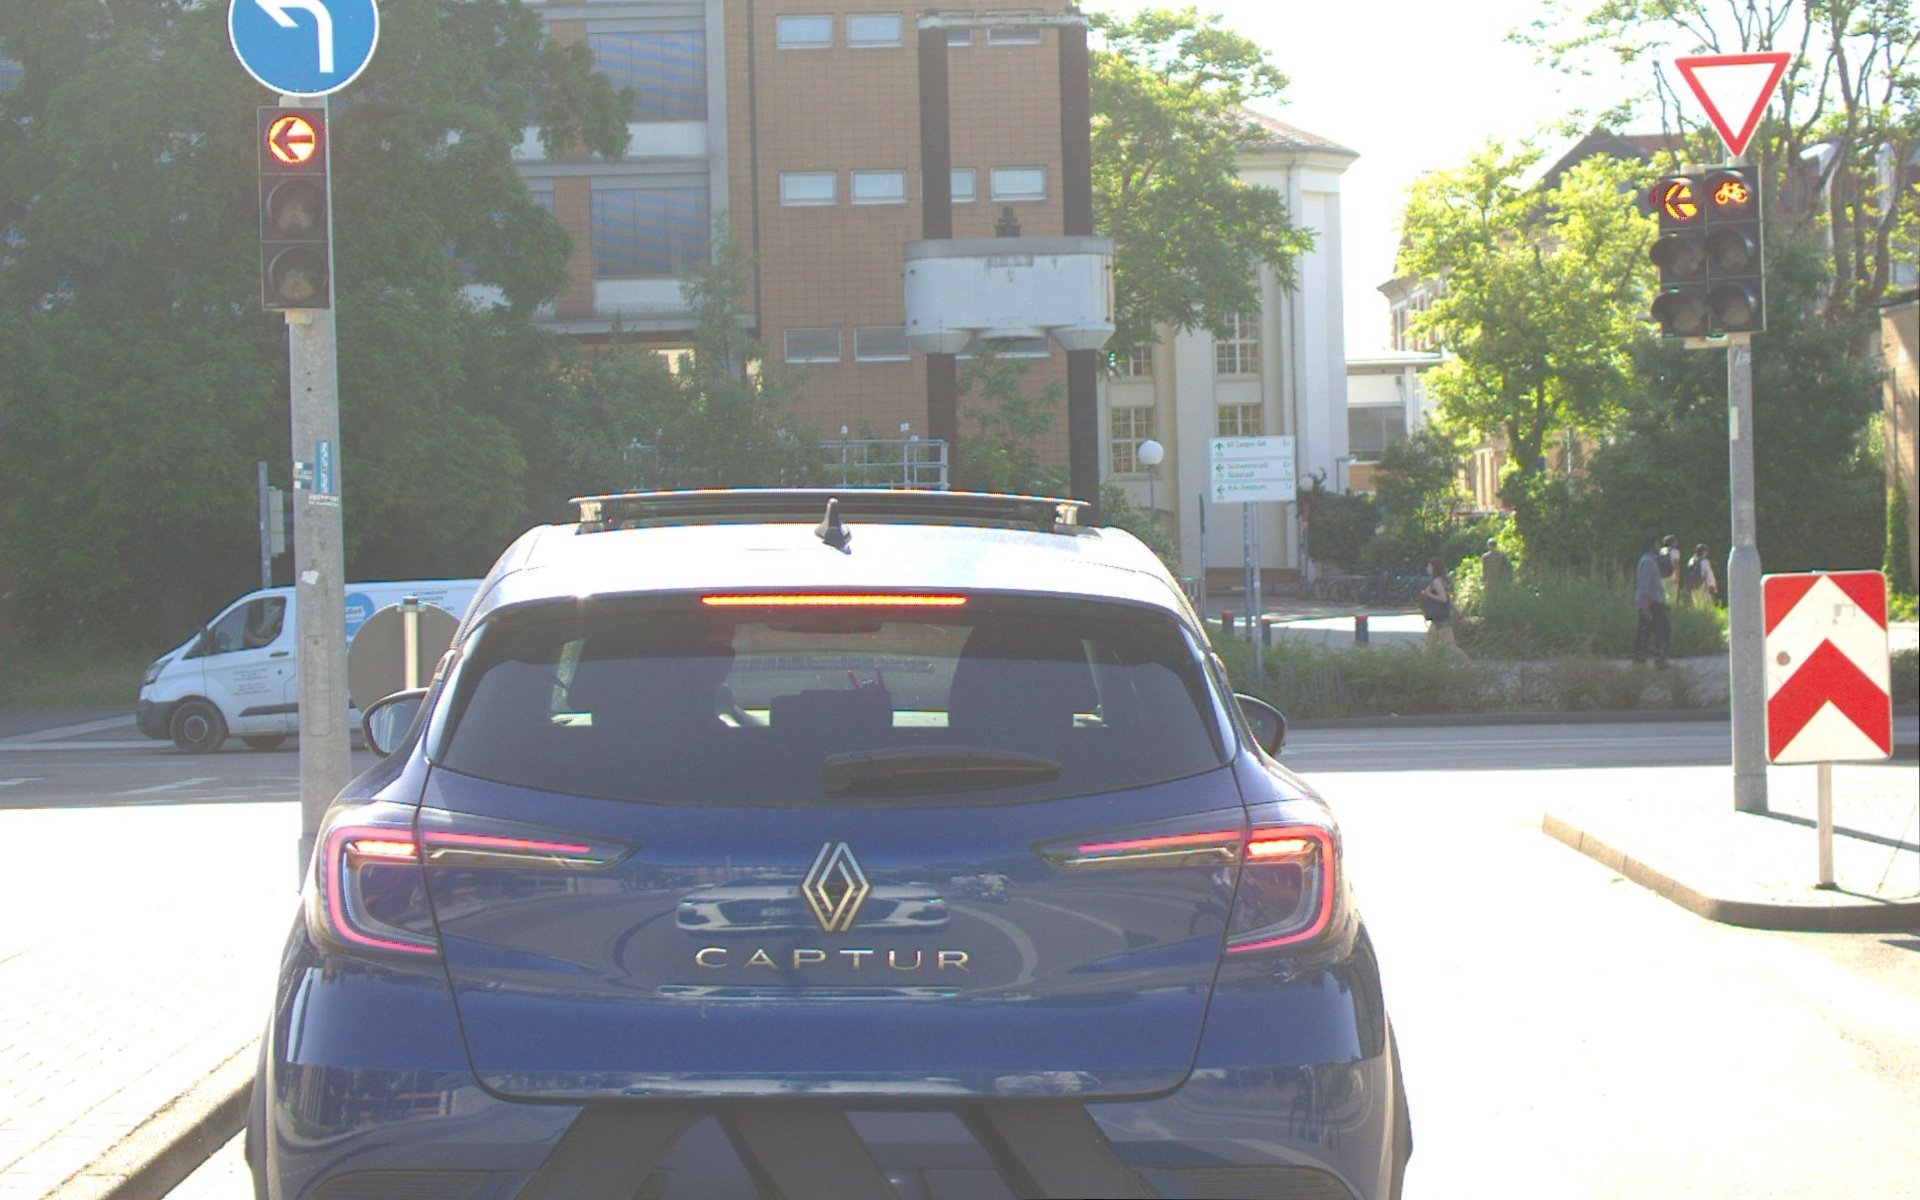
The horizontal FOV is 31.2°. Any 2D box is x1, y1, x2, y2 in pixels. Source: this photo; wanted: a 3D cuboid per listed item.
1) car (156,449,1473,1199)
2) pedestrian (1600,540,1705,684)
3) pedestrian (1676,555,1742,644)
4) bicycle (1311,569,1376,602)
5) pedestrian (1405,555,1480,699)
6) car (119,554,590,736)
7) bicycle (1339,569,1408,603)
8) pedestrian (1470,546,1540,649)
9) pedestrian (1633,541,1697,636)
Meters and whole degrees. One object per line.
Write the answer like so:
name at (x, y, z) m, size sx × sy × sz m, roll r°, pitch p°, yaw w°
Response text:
car at (-0.250, 0.588, 6.634) m, size 1.794 × 1.649 × 3.853 m, roll 0°, pitch 1°, yaw -2°
pedestrian at (9.090, 0.156, 45.148) m, size 1.298 × 1.849 × 0.965 m, roll -1°, pitch 1°, yaw 11°
pedestrian at (13.799, -0.022, 63.370) m, size 0.936 × 1.607 × 1.176 m, roll -1°, pitch 1°, yaw 0°
bicycle at (11.063, -0.416, 99.194) m, size 1.771 × 0.890 × 0.765 m, roll -1°, pitch 1°, yaw 0°
pedestrian at (6.317, 0.346, 44.979) m, size 0.932 × 1.849 × 0.807 m, roll -1°, pitch 1°, yaw 9°
car at (-7.083, 0.518, 40.417) m, size 5.002 × 2.007 × 2.071 m, roll -1°, pitch 1°, yaw 13°
bicycle at (11.401, -0.384, 94.829) m, size 1.771 × 0.895 × 0.765 m, roll -1°, pitch 1°, yaw 0°
pedestrian at (10.799, -0.053, 68.153) m, size 1.156 × 2.007 × 1.164 m, roll -1°, pitch 1°, yaw 0°
pedestrian at (13.108, -0.217, 63.918) m, size 0.953 × 1.735 × 0.984 m, roll -1°, pitch 1°, yaw 0°
